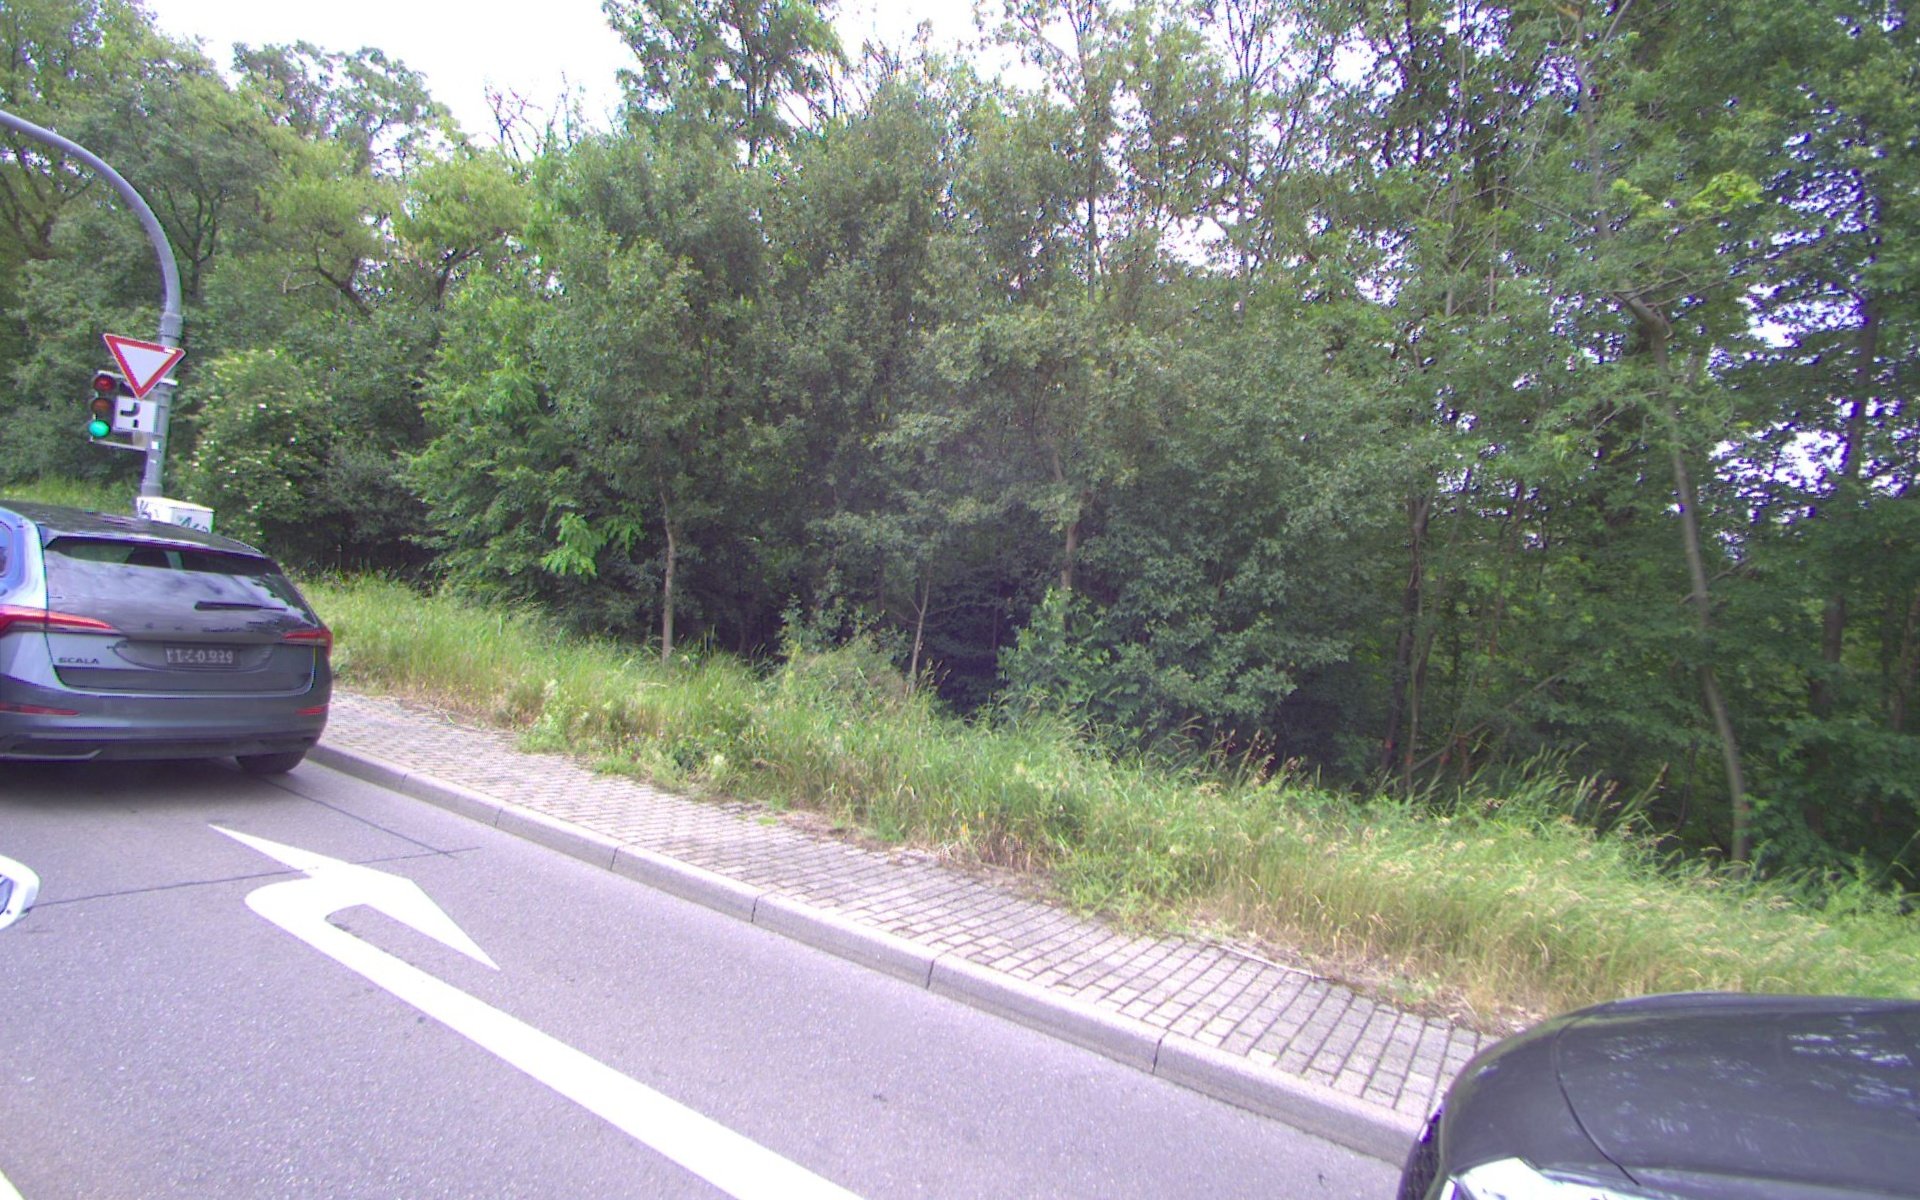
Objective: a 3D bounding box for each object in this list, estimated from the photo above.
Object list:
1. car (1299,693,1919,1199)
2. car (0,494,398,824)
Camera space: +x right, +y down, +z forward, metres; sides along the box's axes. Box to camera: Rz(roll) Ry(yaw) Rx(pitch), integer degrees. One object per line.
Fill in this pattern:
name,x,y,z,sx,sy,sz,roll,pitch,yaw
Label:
car,2.482,1.132,1.050,3.792,1.474,1.728,7,-1,33
car,-5.542,0.139,6.193,3.933,1.468,1.796,7,-1,31
